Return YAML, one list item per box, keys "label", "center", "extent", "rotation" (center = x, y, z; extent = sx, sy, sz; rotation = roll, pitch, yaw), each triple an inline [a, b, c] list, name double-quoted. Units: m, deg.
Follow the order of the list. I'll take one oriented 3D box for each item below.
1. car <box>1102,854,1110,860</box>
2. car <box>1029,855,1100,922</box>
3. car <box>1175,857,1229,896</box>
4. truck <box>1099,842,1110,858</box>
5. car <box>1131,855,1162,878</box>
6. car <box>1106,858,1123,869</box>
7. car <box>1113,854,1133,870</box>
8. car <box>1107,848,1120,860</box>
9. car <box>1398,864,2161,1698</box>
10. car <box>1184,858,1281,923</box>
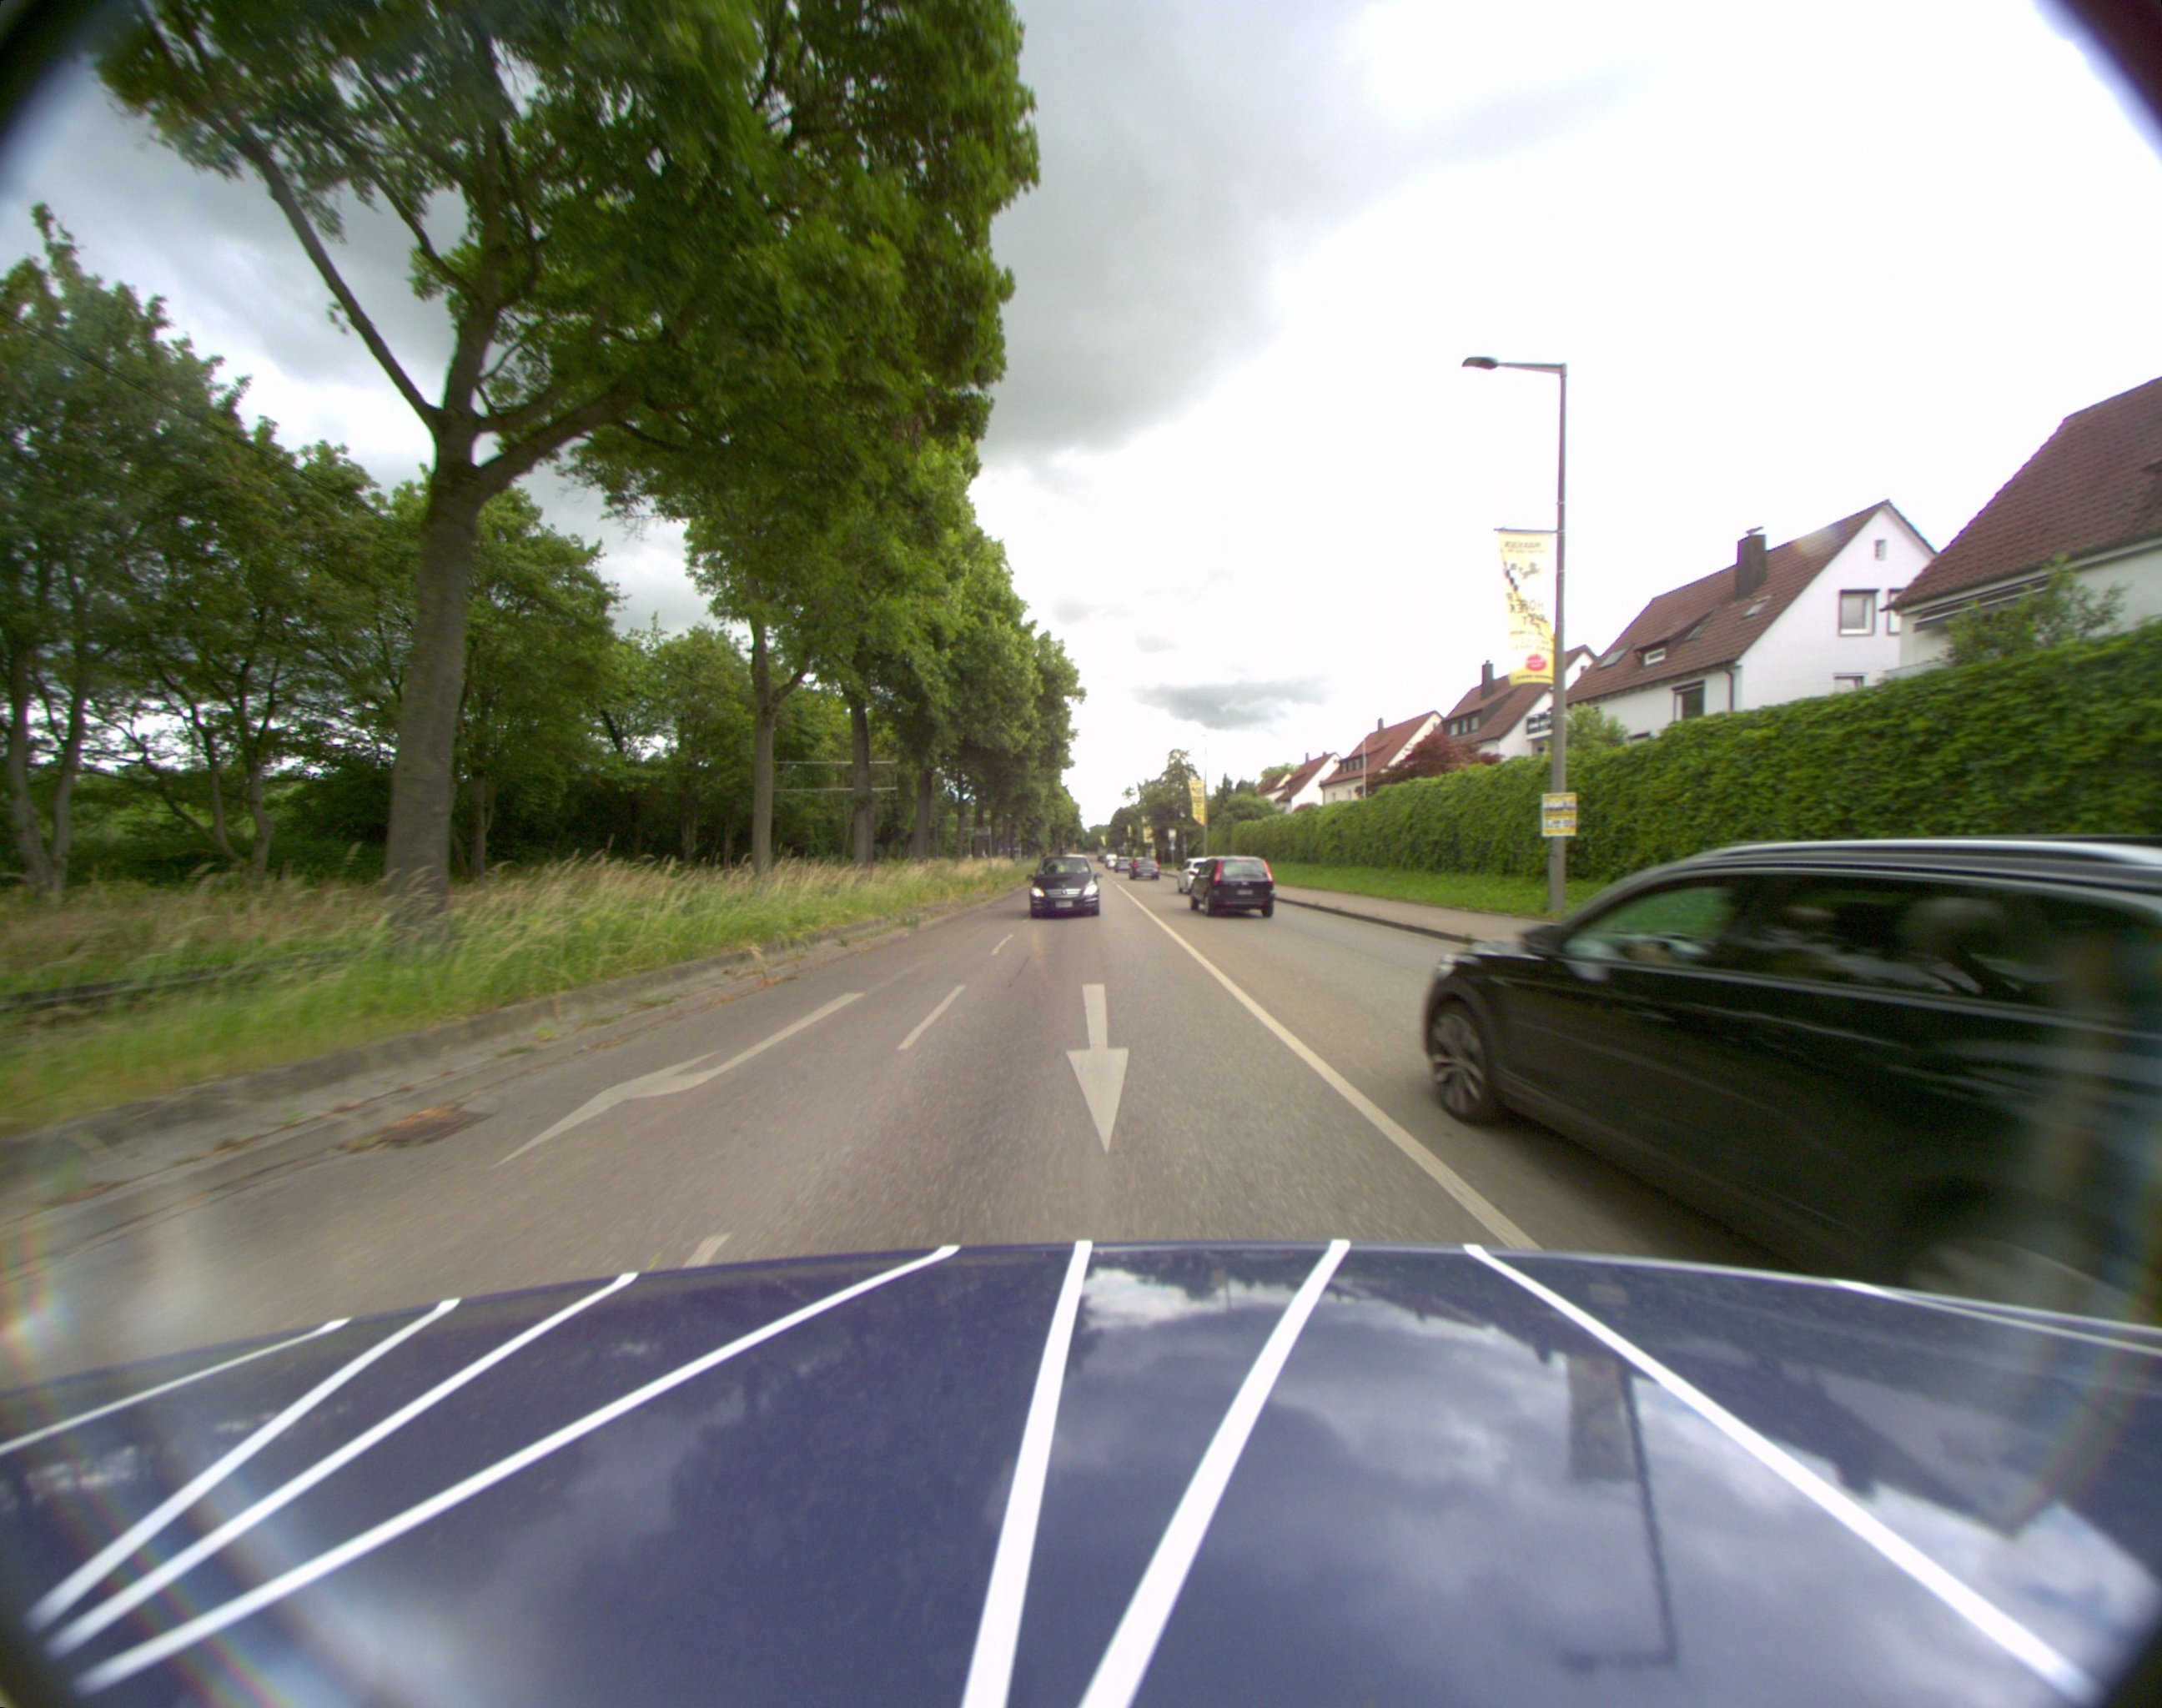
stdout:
- label: "car"
  center: [5.739, 0.708, 176.112]
  extent: [1.737, 1.367, 4.239]
  rotation: [0, 0, 0]
- label: "car"
  center: [-0.408, 0.845, 20.944]
  extent: [1.683, 1.565, 4.482]
  rotation: [-2, 0, 0]
- label: "car"
  center: [4.980, 0.876, 31.698]
  extent: [1.622, 1.453, 4.072]
  rotation: [2, 0, 1]
- label: "truck"
  center: [6.298, -1.041, 203.267]
  extent: [2.556, 4.020, 10.618]
  rotation: [1, 1, 0]
- label: "car"
  center: [4.370, 0.799, 51.369]
  extent: [1.732, 1.455, 4.153]
  rotation: [0, 0, 0]
- label: "car"
  center: [4.252, 1.207, 97.282]
  extent: [1.891, 1.375, 4.490]
  rotation: [0, 0, -1]
- label: "car"
  center: [4.223, 0.805, 77.092]
  extent: [1.756, 1.510, 3.999]
  rotation: [1, 1, 0]
- label: "car"
  center: [5.363, -0.061, 124.768]
  extent: [1.911, 1.921, 4.910]
  rotation: [1, 0, 0]
- label: "car"
  center: [2.938, 0.838, 2.698]
  extent: [1.817, 1.515, 4.176]
  rotation: [1, 0, -1]
- label: "car"
  center: [3.837, 0.854, 19.847]
  extent: [1.647, 1.472, 4.106]
  rotation: [1, 0, -1]
